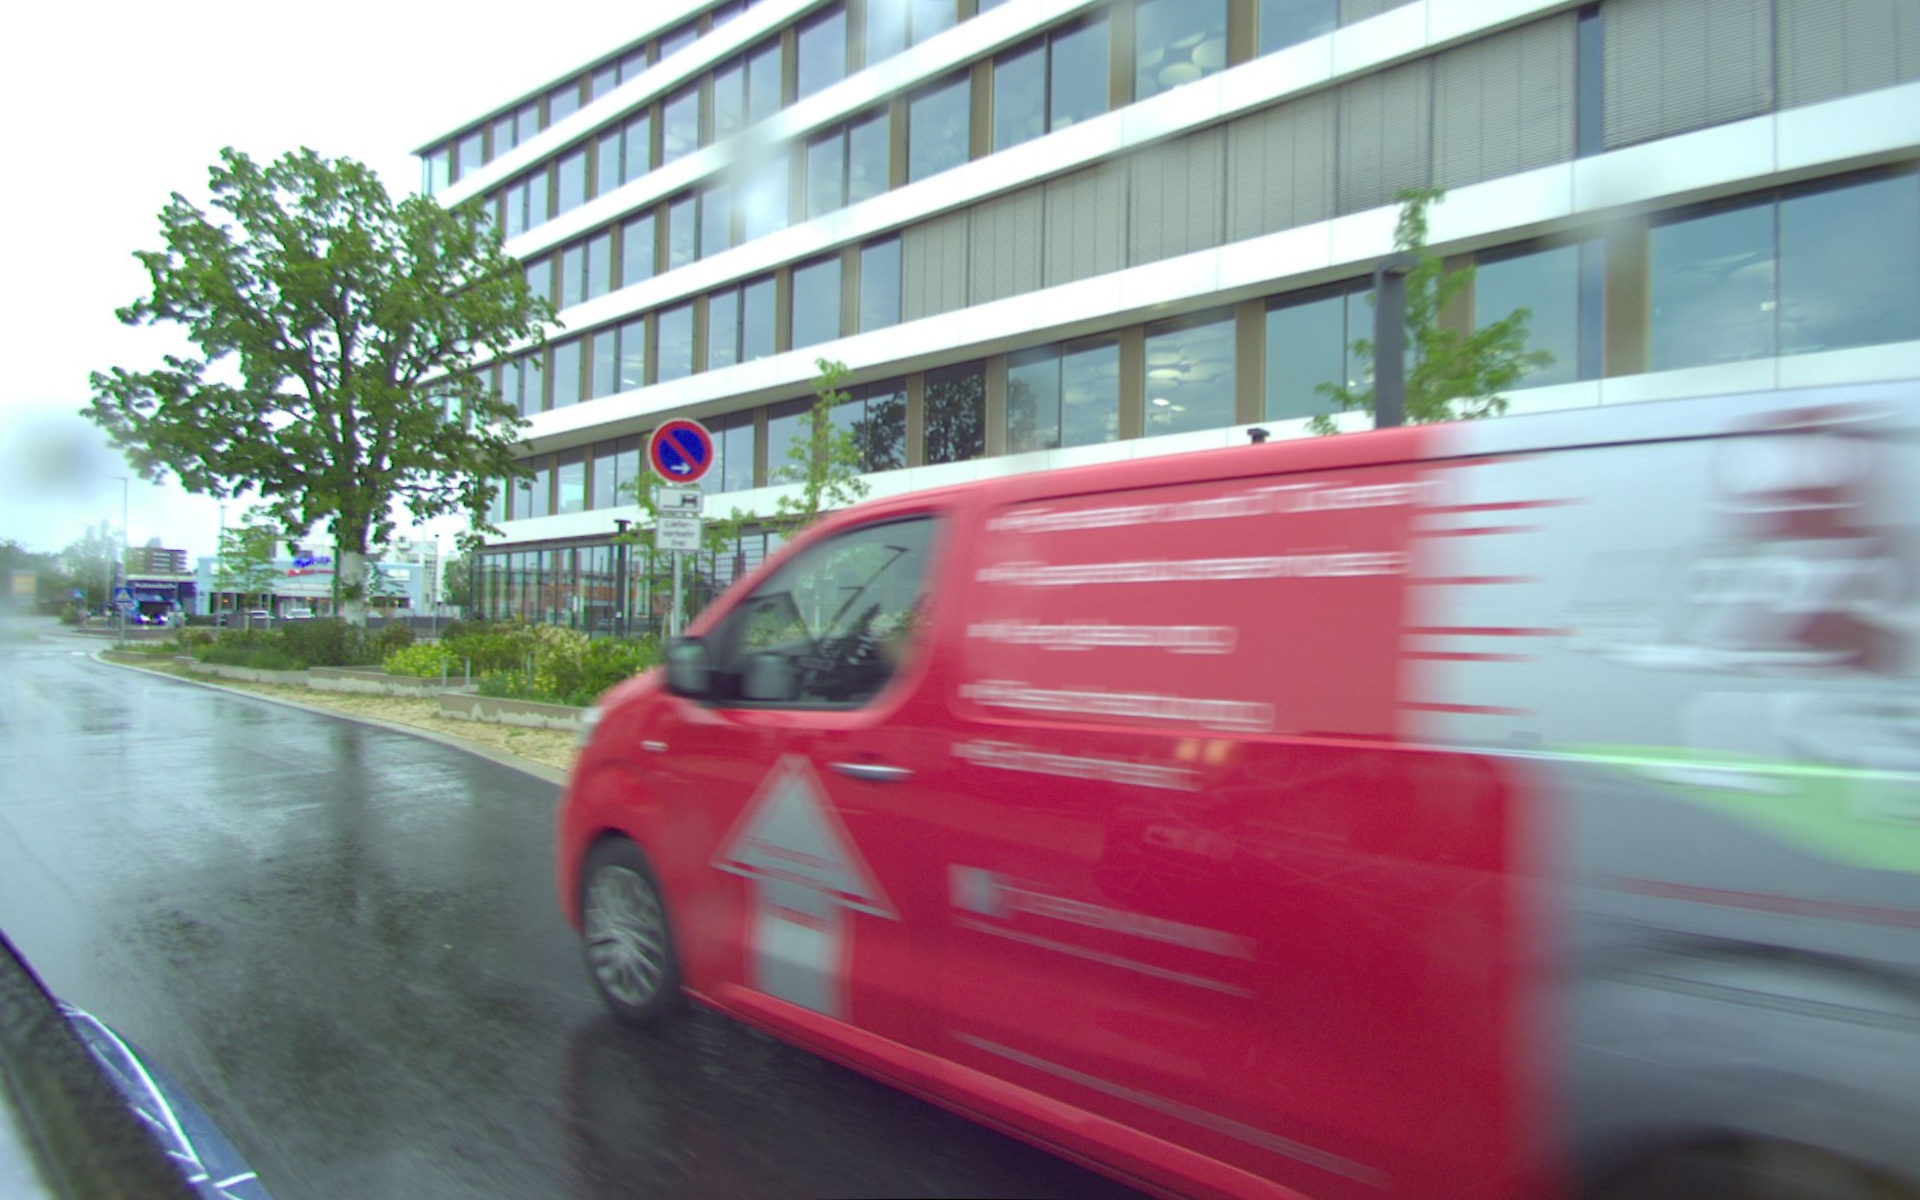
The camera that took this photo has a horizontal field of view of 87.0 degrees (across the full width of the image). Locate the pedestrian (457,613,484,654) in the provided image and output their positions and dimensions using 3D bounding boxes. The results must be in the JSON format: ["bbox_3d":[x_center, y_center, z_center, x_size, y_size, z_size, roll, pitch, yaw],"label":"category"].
[{"bbox_3d":[-21.202,1.448,43.808,0.957,1.716,0.716,0,2,44],"label":"pedestrian"}]

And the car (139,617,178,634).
[{"bbox_3d":[-76.643,2.438,96.849,1.888,1.541,4.013,-1,-1,-23],"label":"car"}]

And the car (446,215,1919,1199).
[{"bbox_3d":[0.610,0.507,2.969,4.975,1.832,1.982,-2,-3,40],"label":"car"}]

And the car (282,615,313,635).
[{"bbox_3d":[-53.851,2.018,82.344,1.763,1.564,4.012,1,-2,-28],"label":"car"}]

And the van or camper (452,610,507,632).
[{"bbox_3d":[-42.415,1.838,89.455,4.306,1.774,1.894,-2,0,-25],"label":"van or camper"}]

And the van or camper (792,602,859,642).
[{"bbox_3d":[-11.090,1.781,83.231,5.014,3.111,2.006,-1,-1,-28],"label":"van or camper"}]

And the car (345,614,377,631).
[{"bbox_3d":[-49.708,1.866,84.034,1.855,1.305,4.013,-2,0,-25],"label":"car"}]

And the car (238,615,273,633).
[{"bbox_3d":[-63.798,2.175,91.709,1.855,1.497,4.013,-2,0,-25],"label":"car"}]

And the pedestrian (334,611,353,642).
[{"bbox_3d":[-40.754,1.774,66.881,0.878,2.029,0.934,0,-2,-21],"label":"pedestrian"}]

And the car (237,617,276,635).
[{"bbox_3d":[-55.989,2.065,80.635,1.855,1.305,4.013,-2,0,-25],"label":"car"}]

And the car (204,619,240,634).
[{"bbox_3d":[-65.662,2.340,90.115,1.855,1.305,4.013,-2,0,-25],"label":"car"}]
